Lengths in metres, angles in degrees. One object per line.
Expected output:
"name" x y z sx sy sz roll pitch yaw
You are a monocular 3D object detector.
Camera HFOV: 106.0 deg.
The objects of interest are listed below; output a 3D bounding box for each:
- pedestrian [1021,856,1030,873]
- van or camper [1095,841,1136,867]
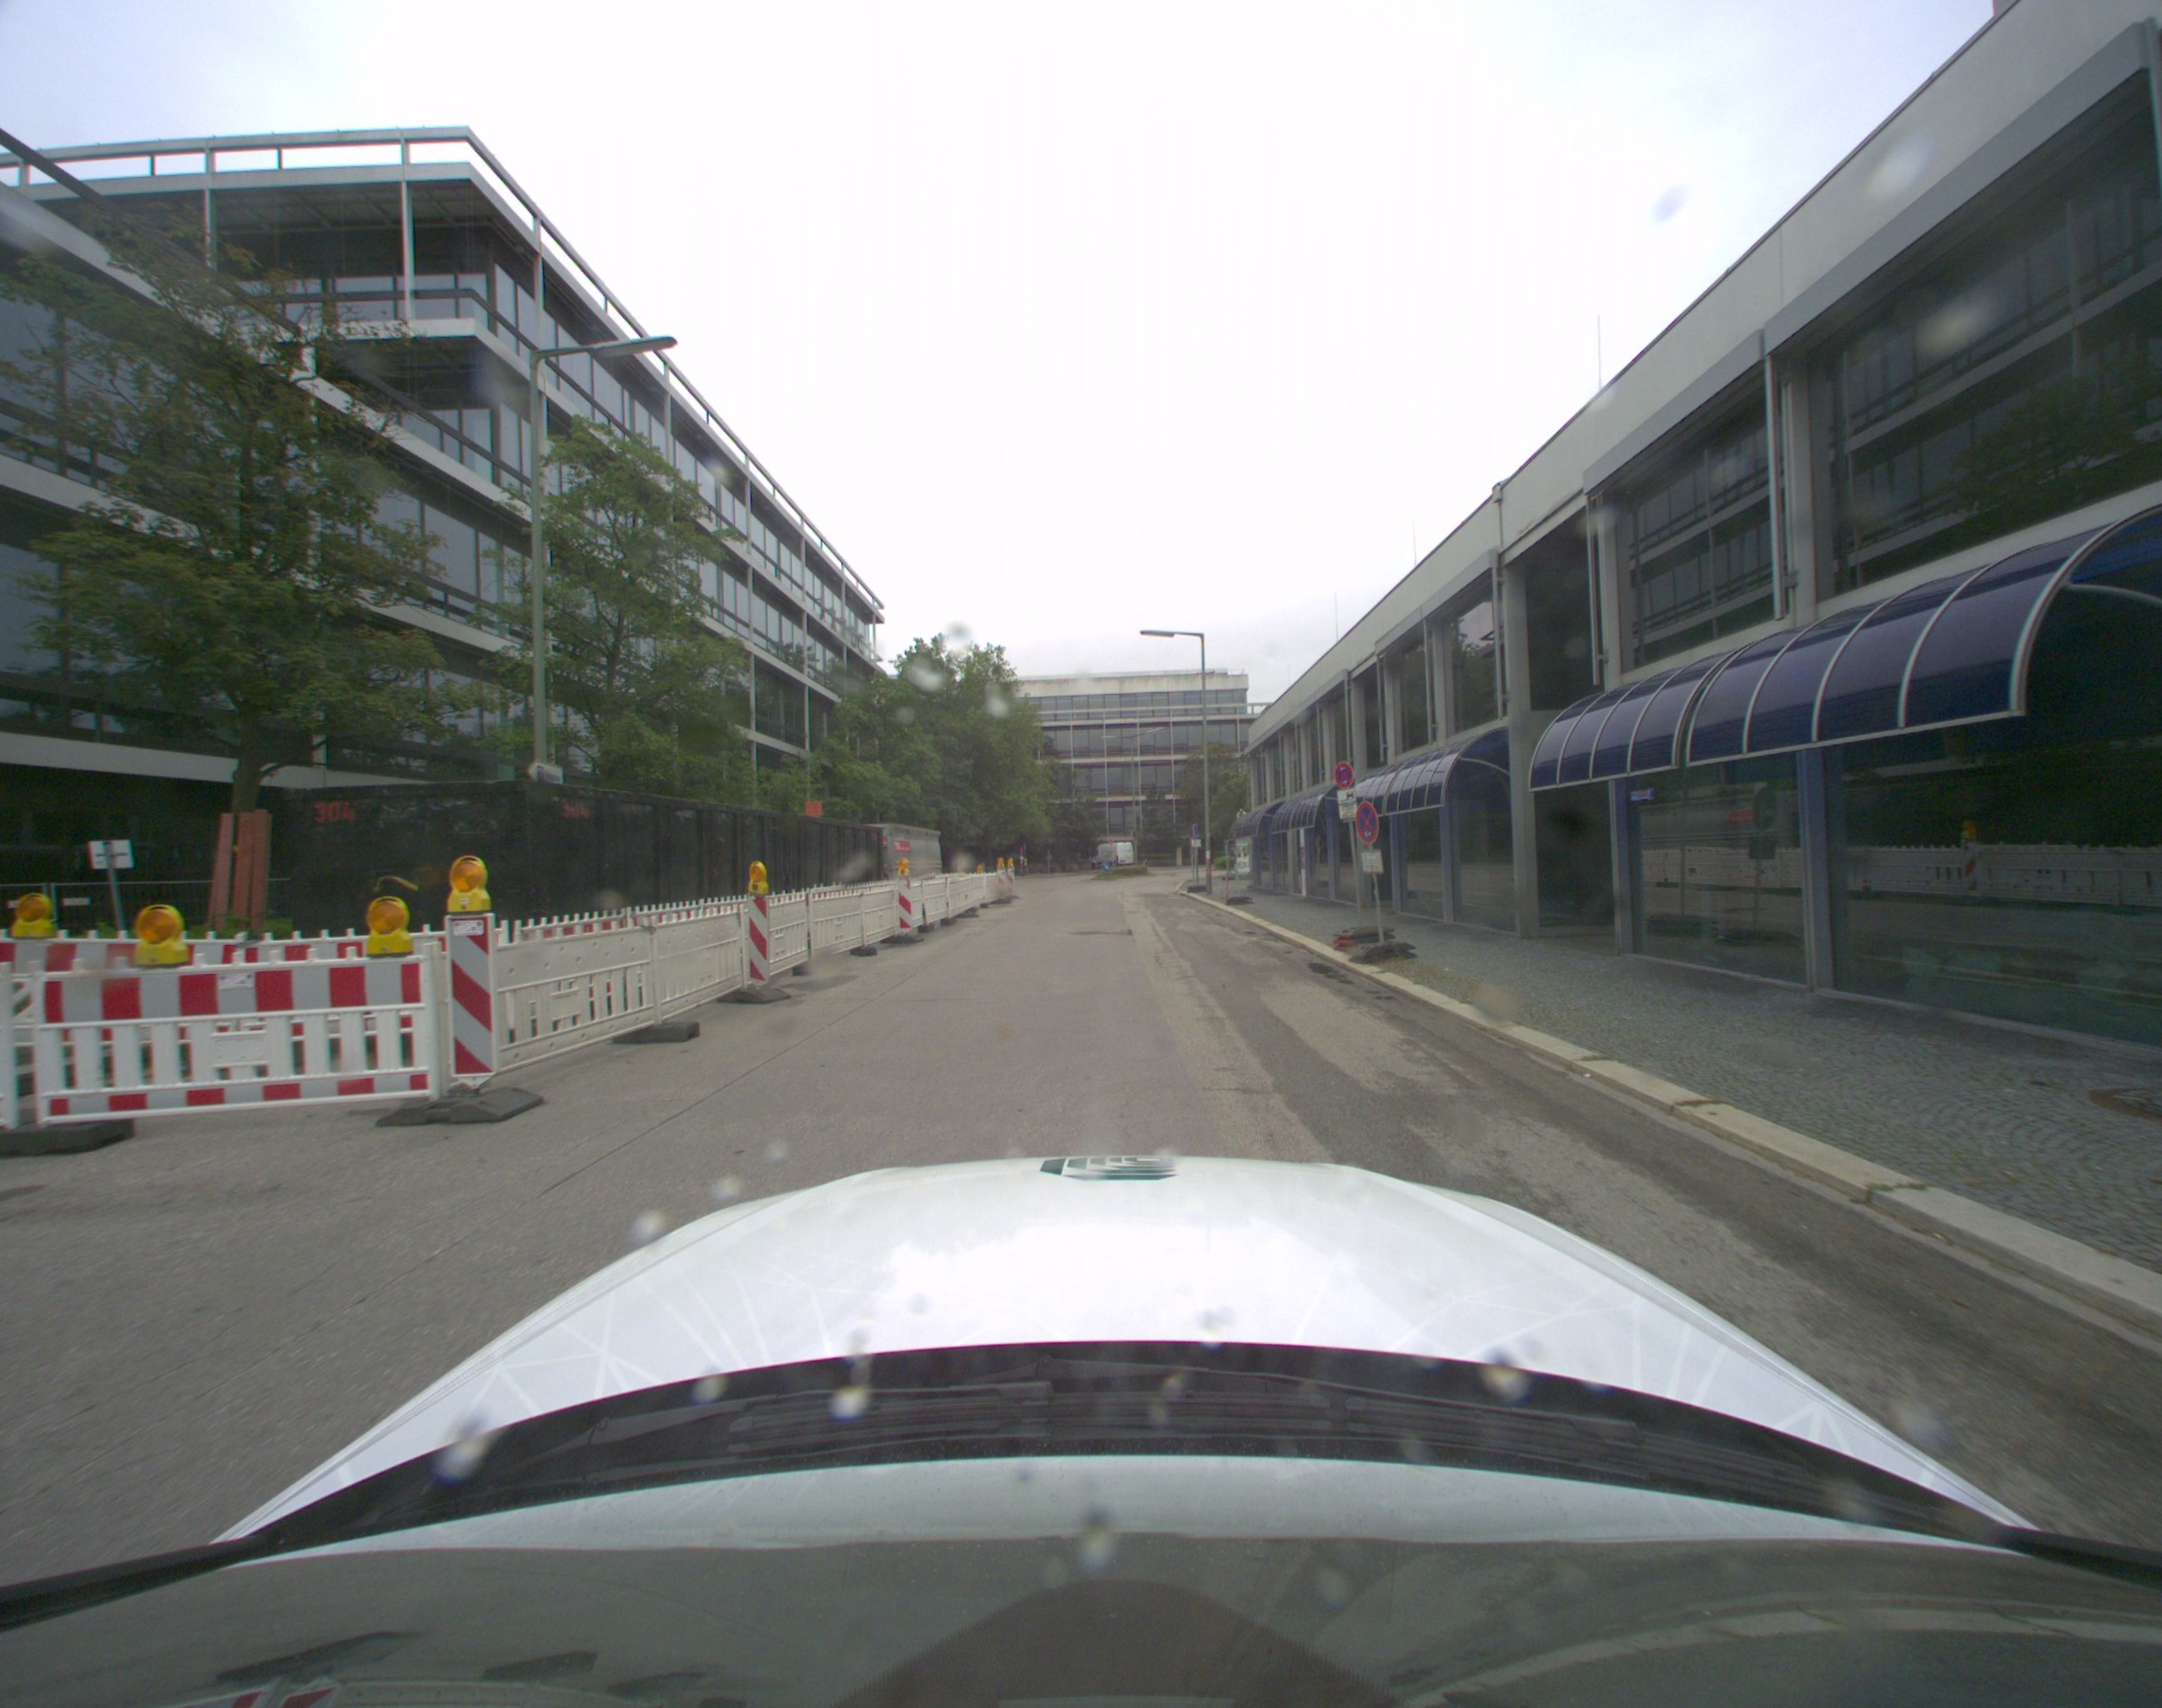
"pedestrian" -5.532 1.035 81.578 0.743 1.677 0.678 -1 -1 -18
"van or camper" 3.457 0.062 82.672 2.095 2.492 5.027 -1 0 -24
